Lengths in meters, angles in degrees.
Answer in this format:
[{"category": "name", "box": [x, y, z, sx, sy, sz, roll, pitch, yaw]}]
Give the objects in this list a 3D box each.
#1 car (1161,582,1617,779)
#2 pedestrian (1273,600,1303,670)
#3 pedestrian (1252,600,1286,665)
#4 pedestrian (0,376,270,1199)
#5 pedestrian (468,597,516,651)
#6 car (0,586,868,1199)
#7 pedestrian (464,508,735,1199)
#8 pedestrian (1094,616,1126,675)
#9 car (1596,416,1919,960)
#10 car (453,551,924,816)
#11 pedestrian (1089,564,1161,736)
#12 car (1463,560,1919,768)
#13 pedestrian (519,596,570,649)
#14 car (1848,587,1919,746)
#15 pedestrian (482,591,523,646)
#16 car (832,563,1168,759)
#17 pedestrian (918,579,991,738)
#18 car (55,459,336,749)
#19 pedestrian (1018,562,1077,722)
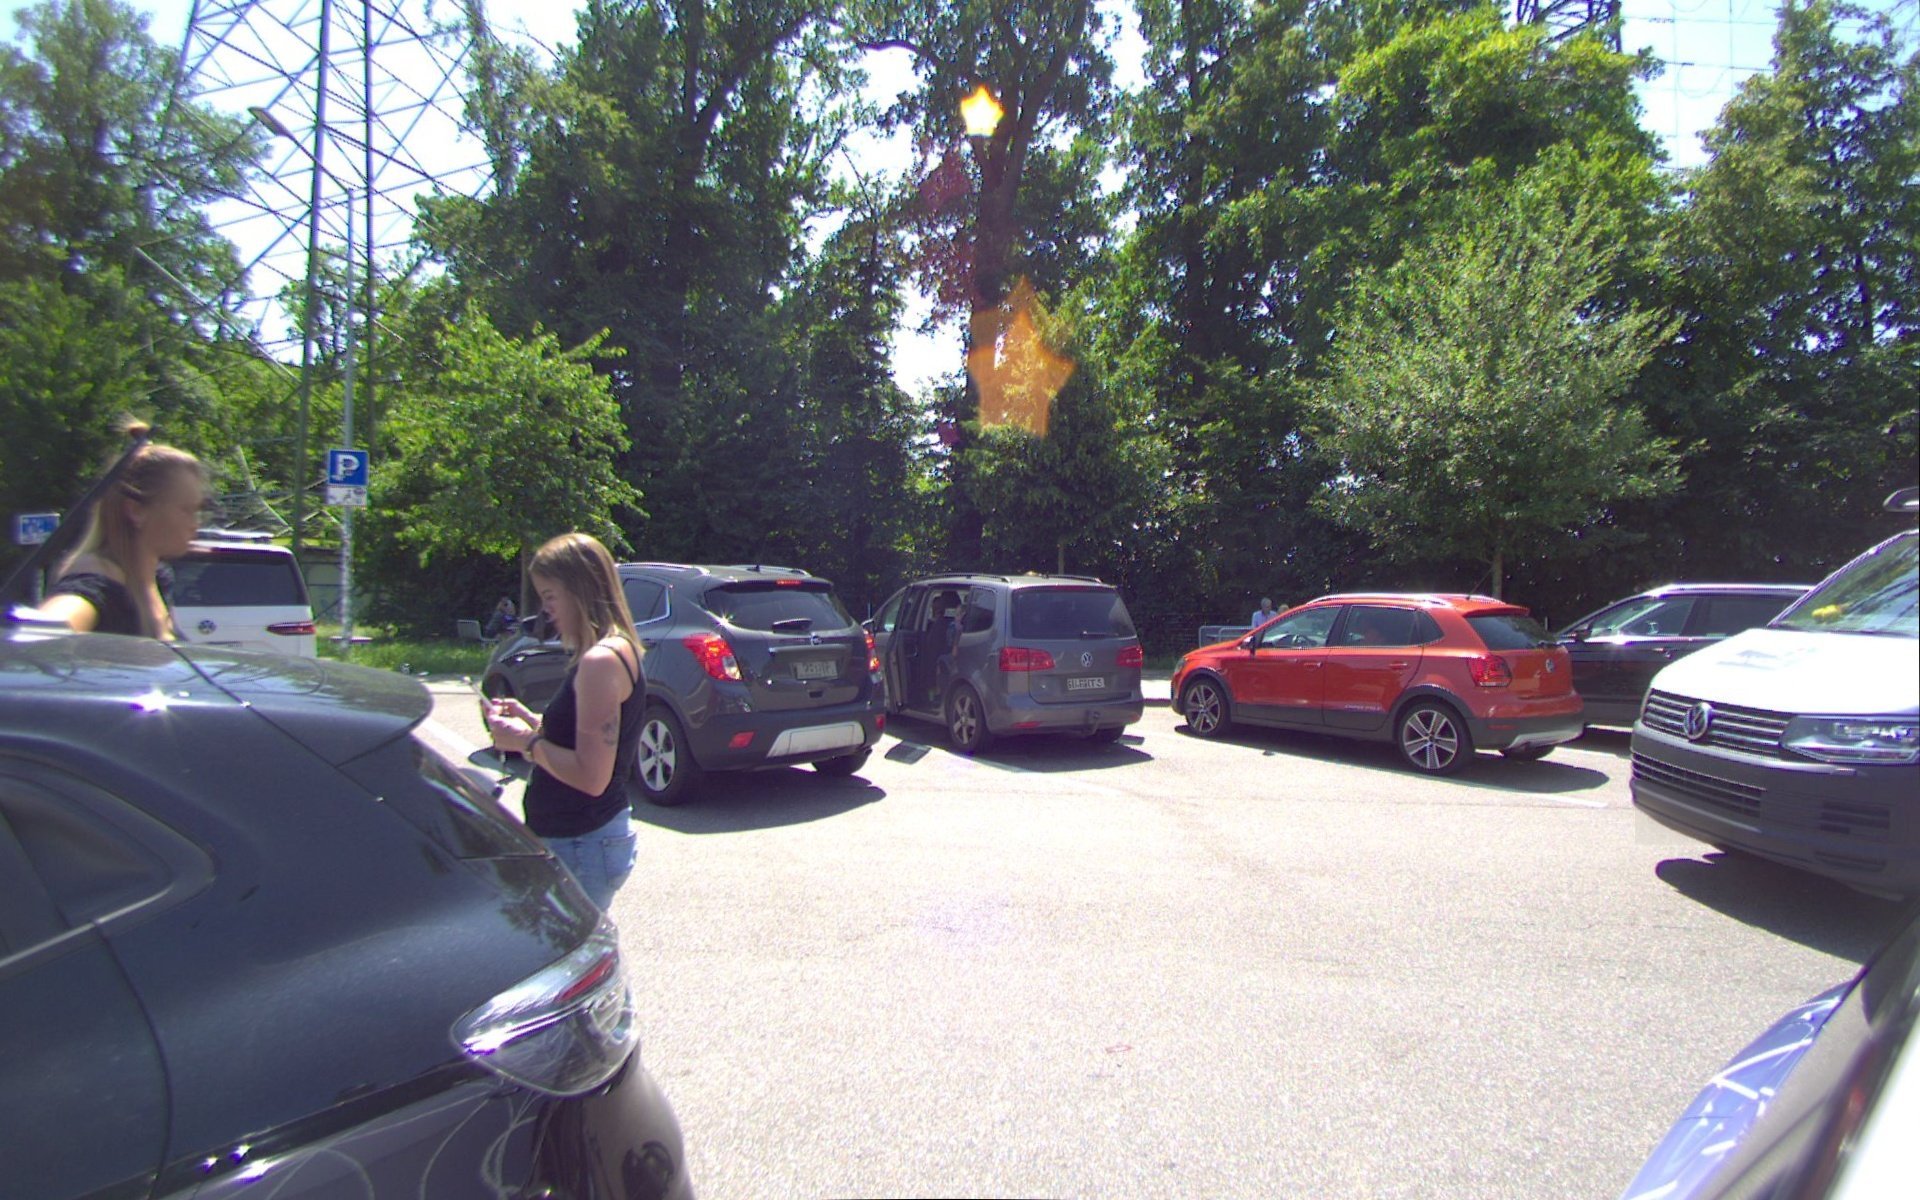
[{"category": "car", "box": [3.845, 0.609, 9.650, 1.588, 1.485, 3.751, 1, 0, -34]}, {"category": "pedestrian", "box": [5.828, 0.614, 17.986, 0.348, 1.207, 0.367, 0, 0, -20]}, {"category": "pedestrian", "box": [5.820, 0.605, 19.075, 0.433, 1.207, 0.414, 0, 0, -30]}, {"category": "pedestrian", "box": [-1.958, 0.511, 2.399, 0.478, 1.883, 0.913, 1, -1, -33]}, {"category": "pedestrian", "box": [-10.492, 0.527, 22.693, 0.785, 1.178, 0.696, 0, 0, 39]}, {"category": "car", "box": [-2.003, 0.734, 0.806, 1.775, 1.476, 3.630, 0, 0, 42]}, {"category": "pedestrian", "box": [-0.931, 0.600, 2.610, 0.477, 1.614, 0.502, 1, -1, -44]}, {"category": "pedestrian", "box": [2.341, 0.696, 15.774, 0.494, 0.890, 0.512, 0, 0, 10]}, {"category": "car", "box": [6.275, 0.363, 4.688, 5.336, 2.131, 1.842, 1, 1, 4]}, {"category": "car", "box": [-2.407, 0.510, 8.346, 4.152, 1.637, 1.810, 1, 0, 43]}, {"category": "pedestrian", "box": [1.720, 0.499, 10.597, 0.576, 1.744, 0.483, 0, 0, -20]}, {"category": "car", "box": [7.183, 0.503, 9.749, 1.679, 1.637, 3.863, 1, 0, -40]}, {"category": "pedestrian", "box": [-9.682, 0.505, 23.594, 0.810, 1.201, 0.836, 0, 0, 40]}, {"category": "car", "box": [10.425, 0.635, 8.808, 1.813, 1.473, 3.776, 1, 0, -36]}, {"category": "pedestrian", "box": [-11.094, 0.432, 24.555, 0.539, 1.318, 0.758, 0, 0, 37]}, {"category": "car", "box": [0.203, 0.495, 10.547, 1.670, 1.637, 3.912, 0, 0, -30]}, {"category": "pedestrian", "box": [-0.057, 0.555, 10.047, 0.511, 1.516, 0.560, 0, 0, -30]}, {"category": "car", "box": [-8.353, 0.022, 10.842, 1.897, 2.400, 4.963, 1, -1, -43]}, {"category": "pedestrian", "box": [0.979, 0.454, 11.348, 0.500, 1.744, 0.438, 0, 0, -24]}]
